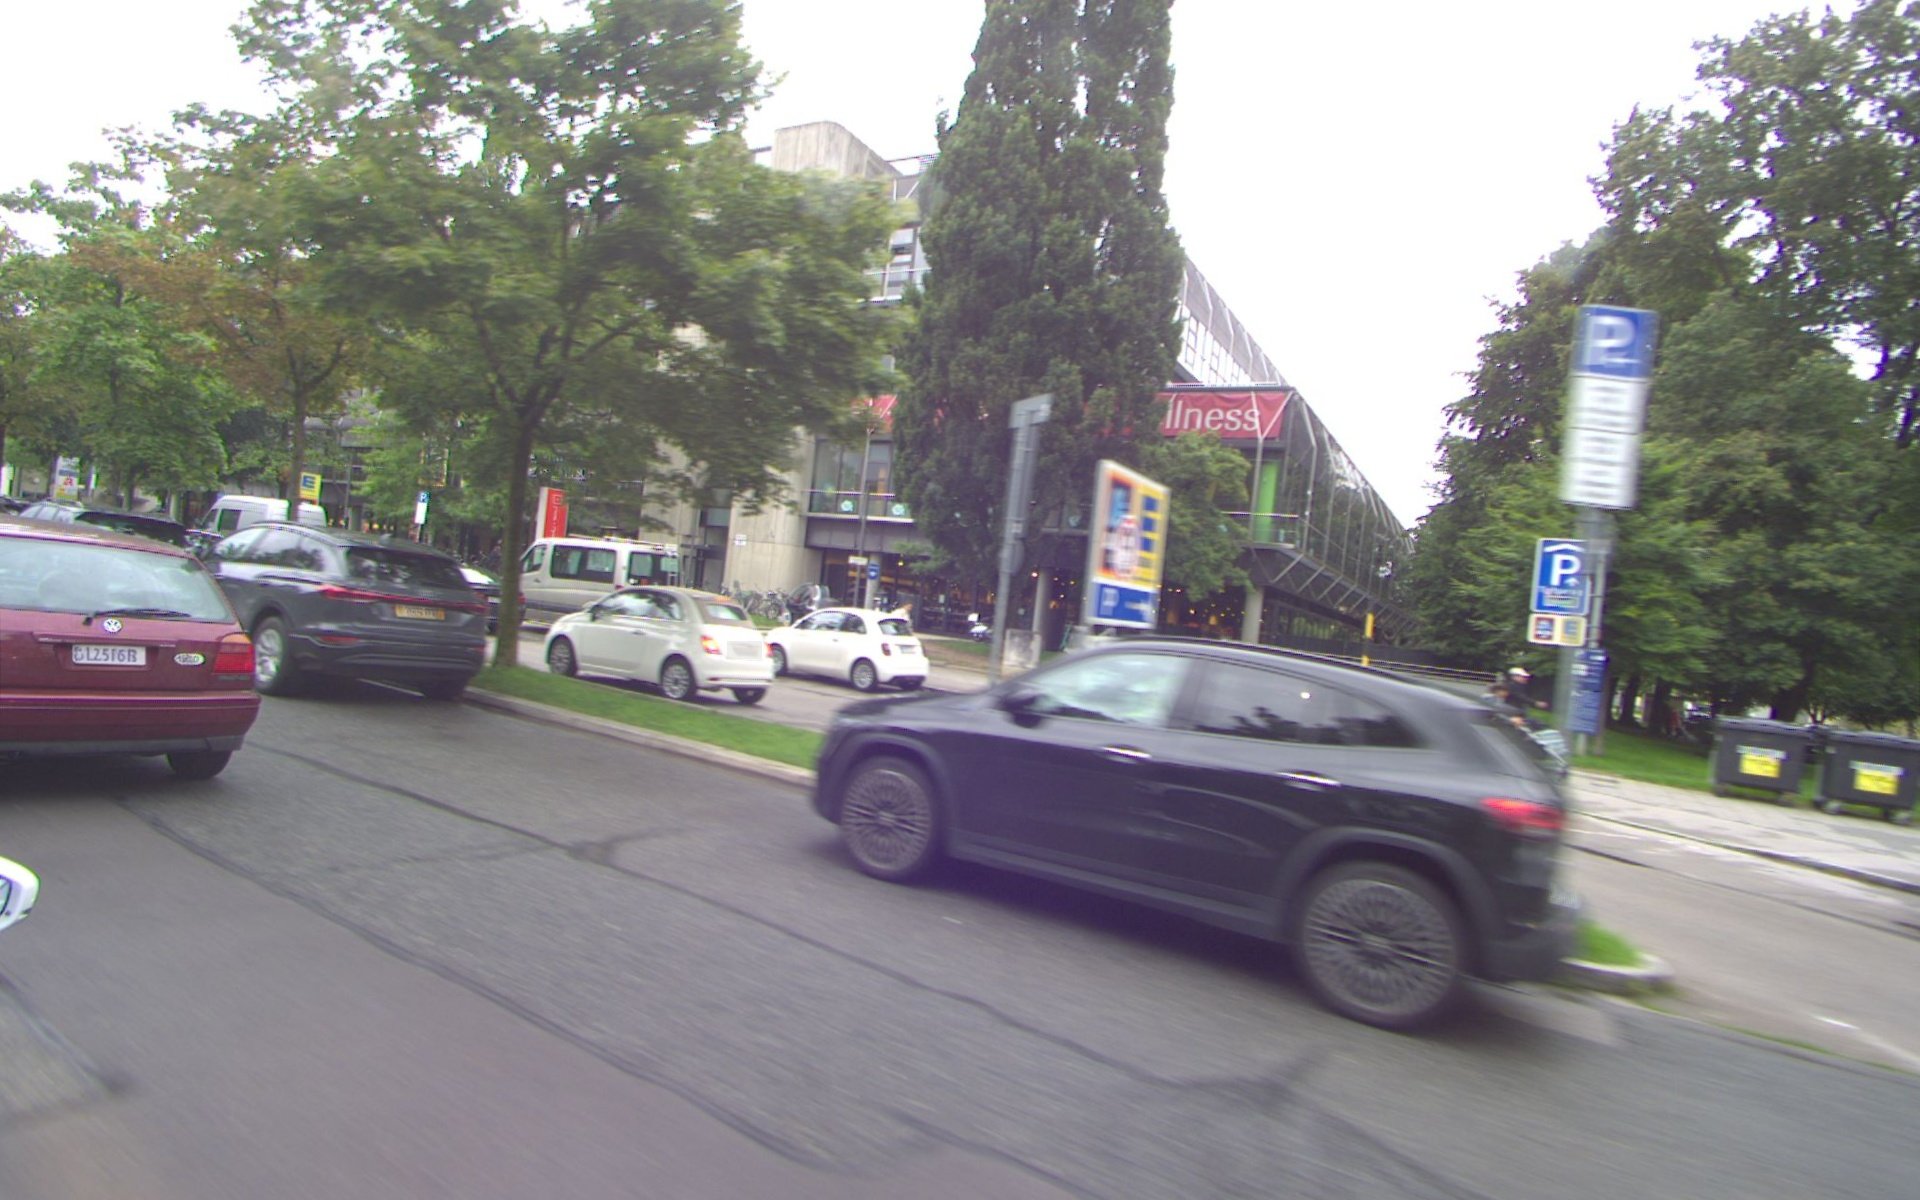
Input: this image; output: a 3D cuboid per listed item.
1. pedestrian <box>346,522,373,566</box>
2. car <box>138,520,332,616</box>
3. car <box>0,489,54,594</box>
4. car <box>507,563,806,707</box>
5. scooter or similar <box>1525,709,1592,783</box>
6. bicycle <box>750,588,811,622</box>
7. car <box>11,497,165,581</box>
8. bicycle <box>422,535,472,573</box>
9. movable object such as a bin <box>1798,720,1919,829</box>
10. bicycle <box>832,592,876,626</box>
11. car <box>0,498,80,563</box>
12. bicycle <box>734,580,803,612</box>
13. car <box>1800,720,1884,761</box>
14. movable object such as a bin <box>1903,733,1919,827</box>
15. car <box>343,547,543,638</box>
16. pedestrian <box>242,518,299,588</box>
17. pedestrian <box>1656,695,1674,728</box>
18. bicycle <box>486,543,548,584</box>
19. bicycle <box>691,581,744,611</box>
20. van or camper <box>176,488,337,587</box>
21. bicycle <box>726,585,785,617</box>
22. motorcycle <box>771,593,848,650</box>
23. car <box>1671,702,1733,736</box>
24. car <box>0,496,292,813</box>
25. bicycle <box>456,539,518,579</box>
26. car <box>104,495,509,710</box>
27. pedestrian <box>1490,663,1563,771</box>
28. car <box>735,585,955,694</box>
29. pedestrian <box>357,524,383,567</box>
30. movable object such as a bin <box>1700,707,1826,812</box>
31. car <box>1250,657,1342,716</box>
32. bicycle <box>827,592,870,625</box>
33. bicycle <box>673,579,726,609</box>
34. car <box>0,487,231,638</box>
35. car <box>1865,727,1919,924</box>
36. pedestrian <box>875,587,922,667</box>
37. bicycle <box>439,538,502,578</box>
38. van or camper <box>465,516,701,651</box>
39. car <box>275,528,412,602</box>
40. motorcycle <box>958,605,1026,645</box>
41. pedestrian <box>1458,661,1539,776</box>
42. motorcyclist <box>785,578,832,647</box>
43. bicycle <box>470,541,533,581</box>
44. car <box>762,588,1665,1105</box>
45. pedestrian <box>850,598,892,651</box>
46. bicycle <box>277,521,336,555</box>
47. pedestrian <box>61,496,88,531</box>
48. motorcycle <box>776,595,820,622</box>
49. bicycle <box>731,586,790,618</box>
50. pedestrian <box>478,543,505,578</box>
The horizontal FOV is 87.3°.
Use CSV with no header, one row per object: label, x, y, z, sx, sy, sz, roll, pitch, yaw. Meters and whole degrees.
pedestrian,-26.870,-2.513,45.022,0.668,1.852,0.559,7,1,21
car,-15.162,-0.673,20.999,3.941,1.497,1.751,7,0,30
car,-17.851,-1.221,17.564,4.350,1.671,1.767,7,-1,31
car,-4.419,0.498,14.568,3.931,1.505,1.768,7,-2,29
scooter or similar,9.669,2.340,16.257,0.819,1.032,0.500,7,2,32
bicycle,-6.421,0.184,35.928,2.016,0.970,0.744,7,0,-15
car,-21.471,-1.507,24.734,3.943,1.605,1.686,7,0,32
bicycle,-23.953,-2.119,47.058,0.783,1.526,2.619,7,0,2
movable object such as a bin,14.348,2.725,15.941,1.292,1.426,1.338,7,0,30
bicycle,-4.395,0.391,41.869,0.577,1.219,2.141,7,0,29
car,-25.847,-1.996,27.407,3.943,1.471,1.686,7,0,32
bicycle,-7.030,-0.138,36.917,2.366,0.881,0.769,7,0,-15
car,46.964,7.437,53.664,1.964,1.613,4.455,7,-1,24
movable object such as a bin,15.473,2.857,15.254,1.292,1.426,1.338,7,0,30
car,-11.663,-0.196,22.587,4.758,1.471,1.686,7,0,32
pedestrian,-20.085,-1.355,29.310,0.888,1.873,0.877,7,-1,30
pedestrian,40.771,6.417,58.179,0.594,1.817,0.612,7,1,25
bicycle,-19.958,-1.626,45.361,0.784,1.526,2.617,7,0,23
bicycle,-9.531,-0.152,39.635,0.734,0.969,2.044,7,-1,30
van or camper,-23.093,-2.078,32.925,5.858,2.589,2.026,7,0,32
bicycle,-7.890,0.048,38.809,2.020,0.970,0.743,7,0,-22
motorcycle,-4.101,0.566,27.331,2.032,1.309,0.695,7,5,32
car,45.406,7.261,61.686,1.964,1.613,4.455,8,0,24
car,-5.905,0.101,5.980,3.884,1.471,1.624,7,0,31
bicycle,-21.605,-1.838,46.008,0.784,1.526,2.617,7,0,23
car,-7.202,-0.044,10.923,4.741,1.721,1.764,7,0,32
pedestrian,9.995,2.034,17.757,0.924,1.744,0.828,7,2,32
car,-2.361,0.792,20.460,3.934,1.671,1.996,7,0,32
pedestrian,-26.839,-2.496,45.800,0.533,1.852,0.678,7,1,20
movable object such as a bin,13.216,2.593,16.622,1.292,1.426,1.338,7,0,30
car,8.439,2.160,25.107,1.534,1.165,3.449,7,-1,28
bicycle,-4.700,0.361,42.544,0.577,1.219,2.141,7,0,29
bicycle,-10.421,-0.238,40.258,0.734,0.969,2.044,7,-1,30
car,-12.299,-0.595,14.115,4.316,1.671,1.724,7,0,32
car,9.934,2.133,7.098,1.946,1.644,4.825,8,-1,-20
pedestrian,-1.454,0.641,23.726,0.720,1.773,0.575,7,1,36
bicycle,-22.606,-1.921,46.520,0.784,1.526,2.617,7,0,23
van or camper,-9.211,-0.449,24.355,5.858,2.589,1.996,7,0,32
car,-18.217,-1.049,29.699,3.943,1.684,1.750,7,0,32
motorcycle,1.233,0.964,38.392,2.335,1.245,0.870,7,2,25
pedestrian,8.950,1.946,16.723,0.971,1.744,0.539,7,3,32
motorcyclist,-4.103,0.328,27.323,0.937,1.762,0.690,7,5,32
bicycle,-20.794,-1.749,45.687,0.784,1.526,2.617,7,0,23
car,1.192,1.008,5.768,4.377,1.608,1.764,7,0,30
pedestrian,-2.326,0.642,26.269,0.687,1.308,0.731,6,2,36
bicycle,-36.135,-3.399,55.657,0.784,1.526,2.616,7,0,25
pedestrian,-46.857,-4.585,53.233,0.690,1.728,0.748,7,1,32
motorcycle,-6.532,0.349,40.518,1.545,0.876,0.851,7,0,39
bicycle,-7.548,0.070,38.060,2.020,0.970,0.743,7,0,-22
pedestrian,-23.446,-1.970,50.305,0.955,1.599,0.689,7,1,32
